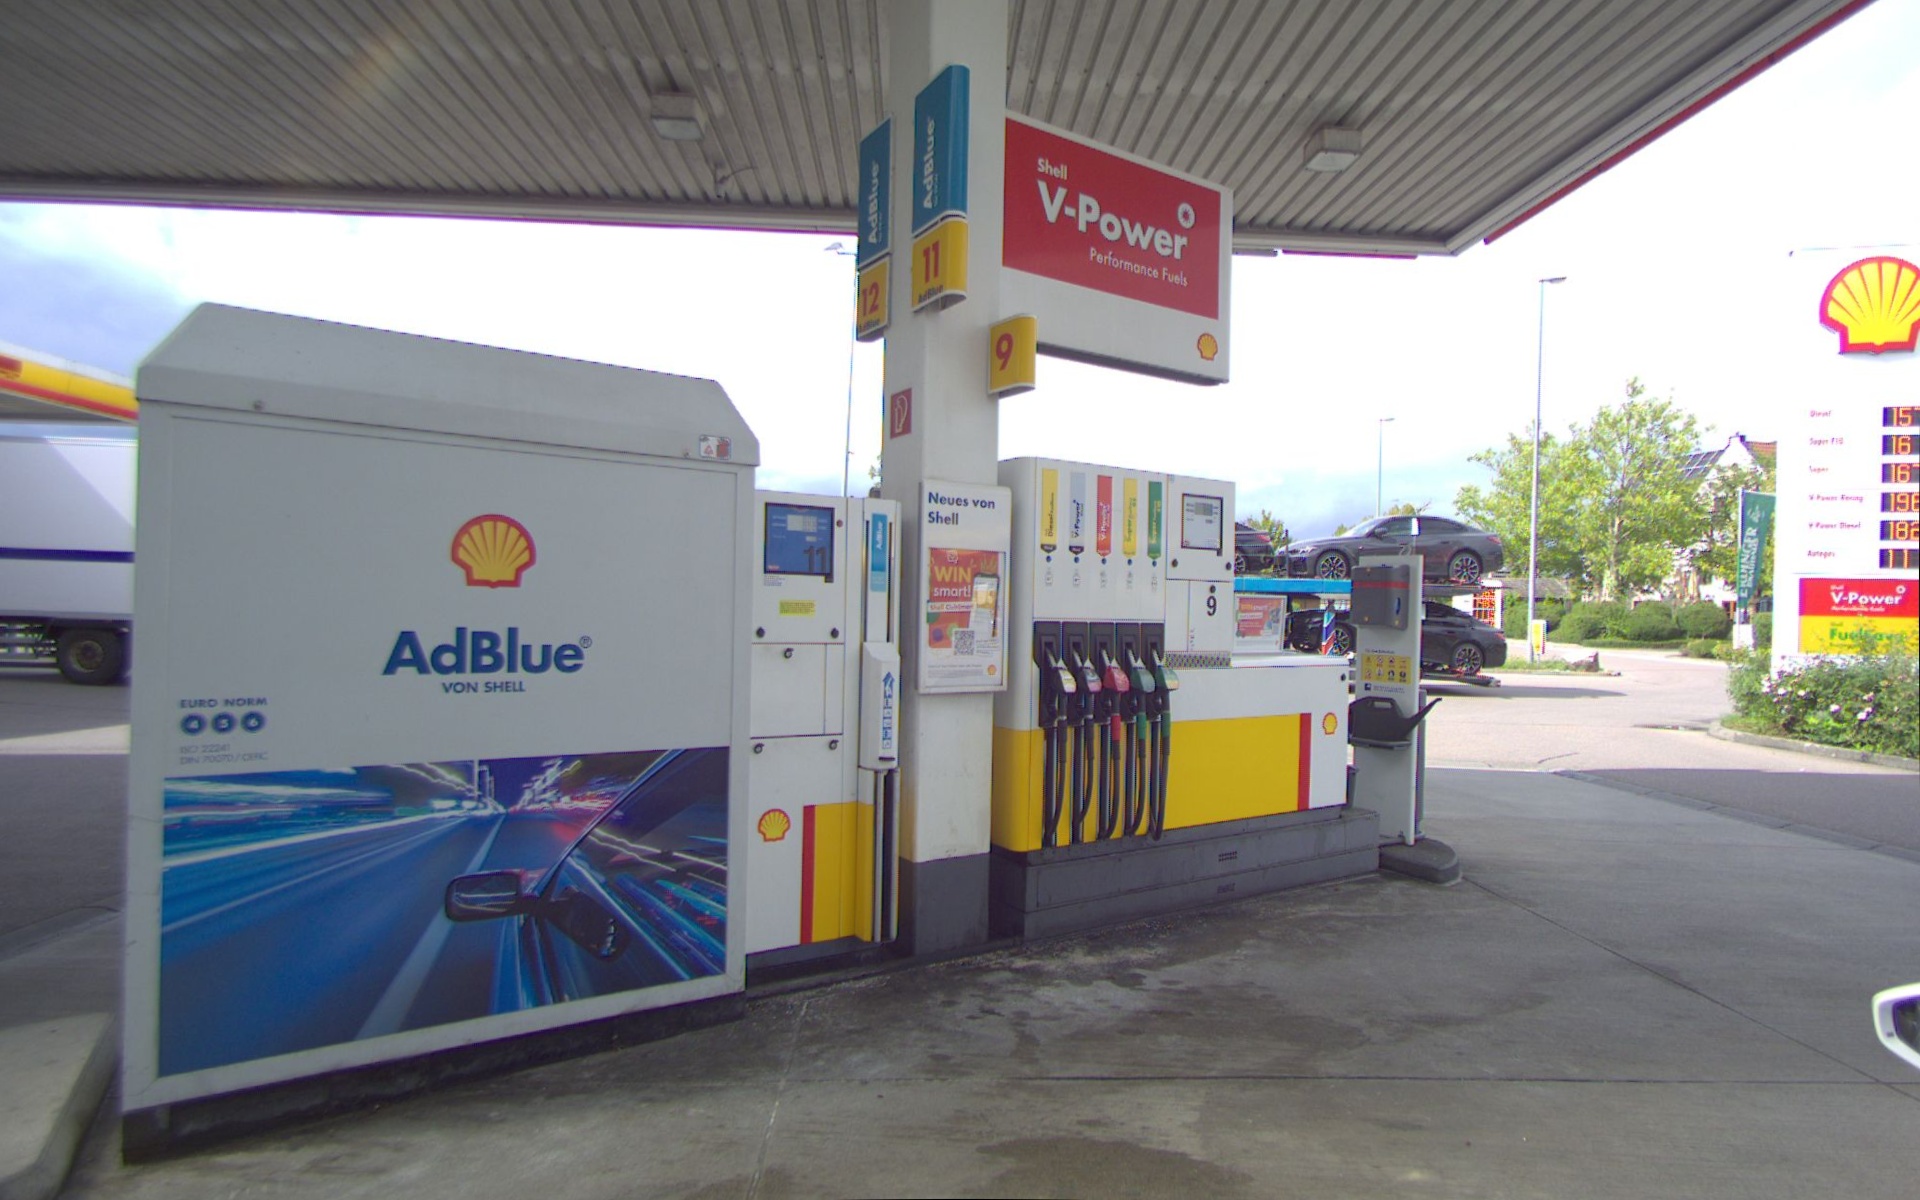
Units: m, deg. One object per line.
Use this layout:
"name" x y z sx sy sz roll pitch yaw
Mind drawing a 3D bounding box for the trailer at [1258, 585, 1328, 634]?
"trailer" 28.452 0.808 86.475 2.684 3.826 12.718 2 0 5

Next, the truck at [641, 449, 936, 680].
"truck" -3.472 -0.704 21.538 5.713 4.479 2.750 2 0 0

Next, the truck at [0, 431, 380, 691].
"truck" -17.322 -0.740 17.488 12.654 4.092 2.534 2 0 -3

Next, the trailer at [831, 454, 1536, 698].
"trailer" 4.504 -0.467 21.579 14.077 4.481 2.746 2 0 0
